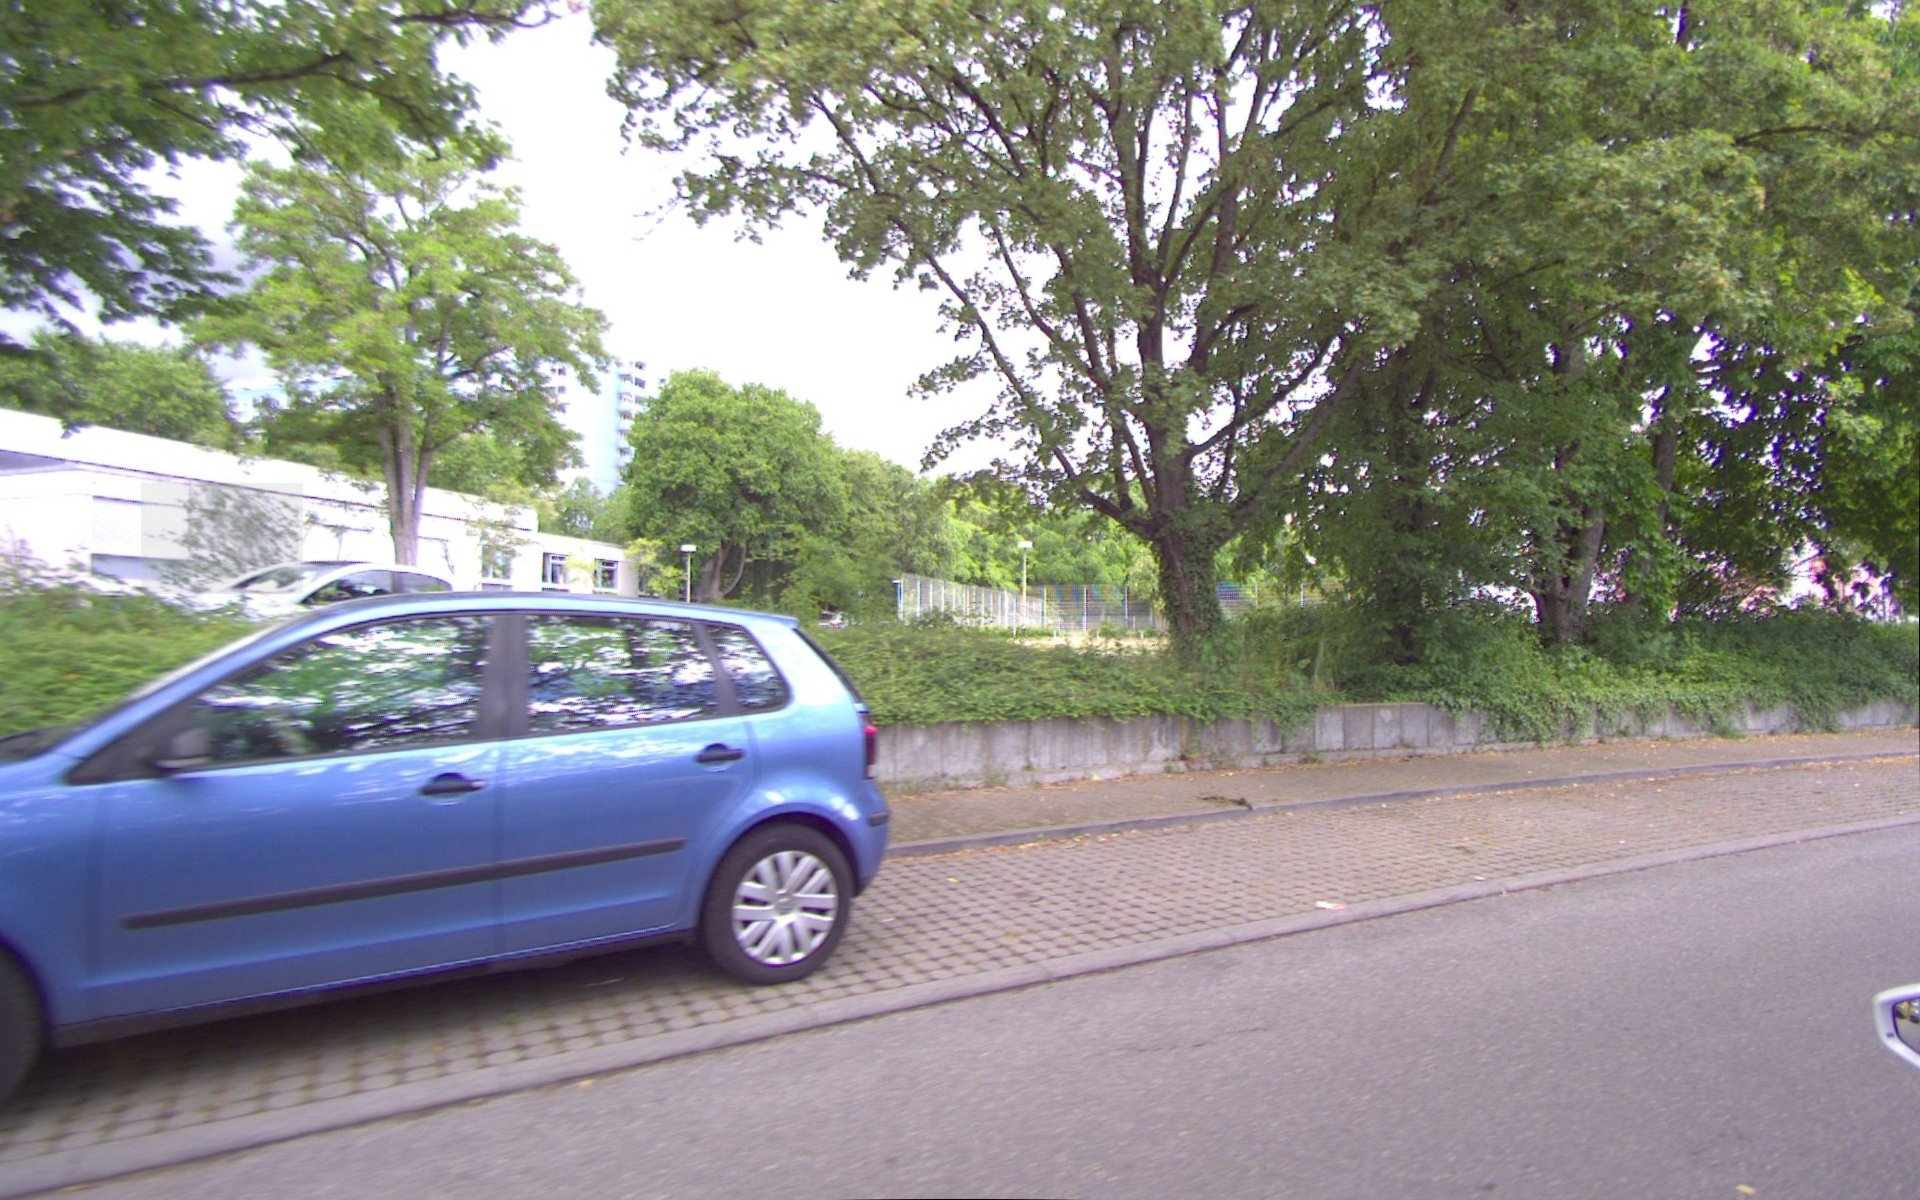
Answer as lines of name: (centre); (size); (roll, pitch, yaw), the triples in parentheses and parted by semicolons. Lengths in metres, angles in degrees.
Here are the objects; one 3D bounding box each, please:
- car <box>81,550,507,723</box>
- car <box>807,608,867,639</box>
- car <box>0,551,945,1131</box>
car: (-7.415, 0.393, 11.672); (1.712, 1.643, 3.873); (-1, -1, 19)
car: (-6.944, 1.352, 56.949); (1.960, 1.706, 4.002); (-1, -2, 16)
car: (-2.011, 0.651, 3.757); (3.680, 1.478, 1.525); (1, -2, -33)
